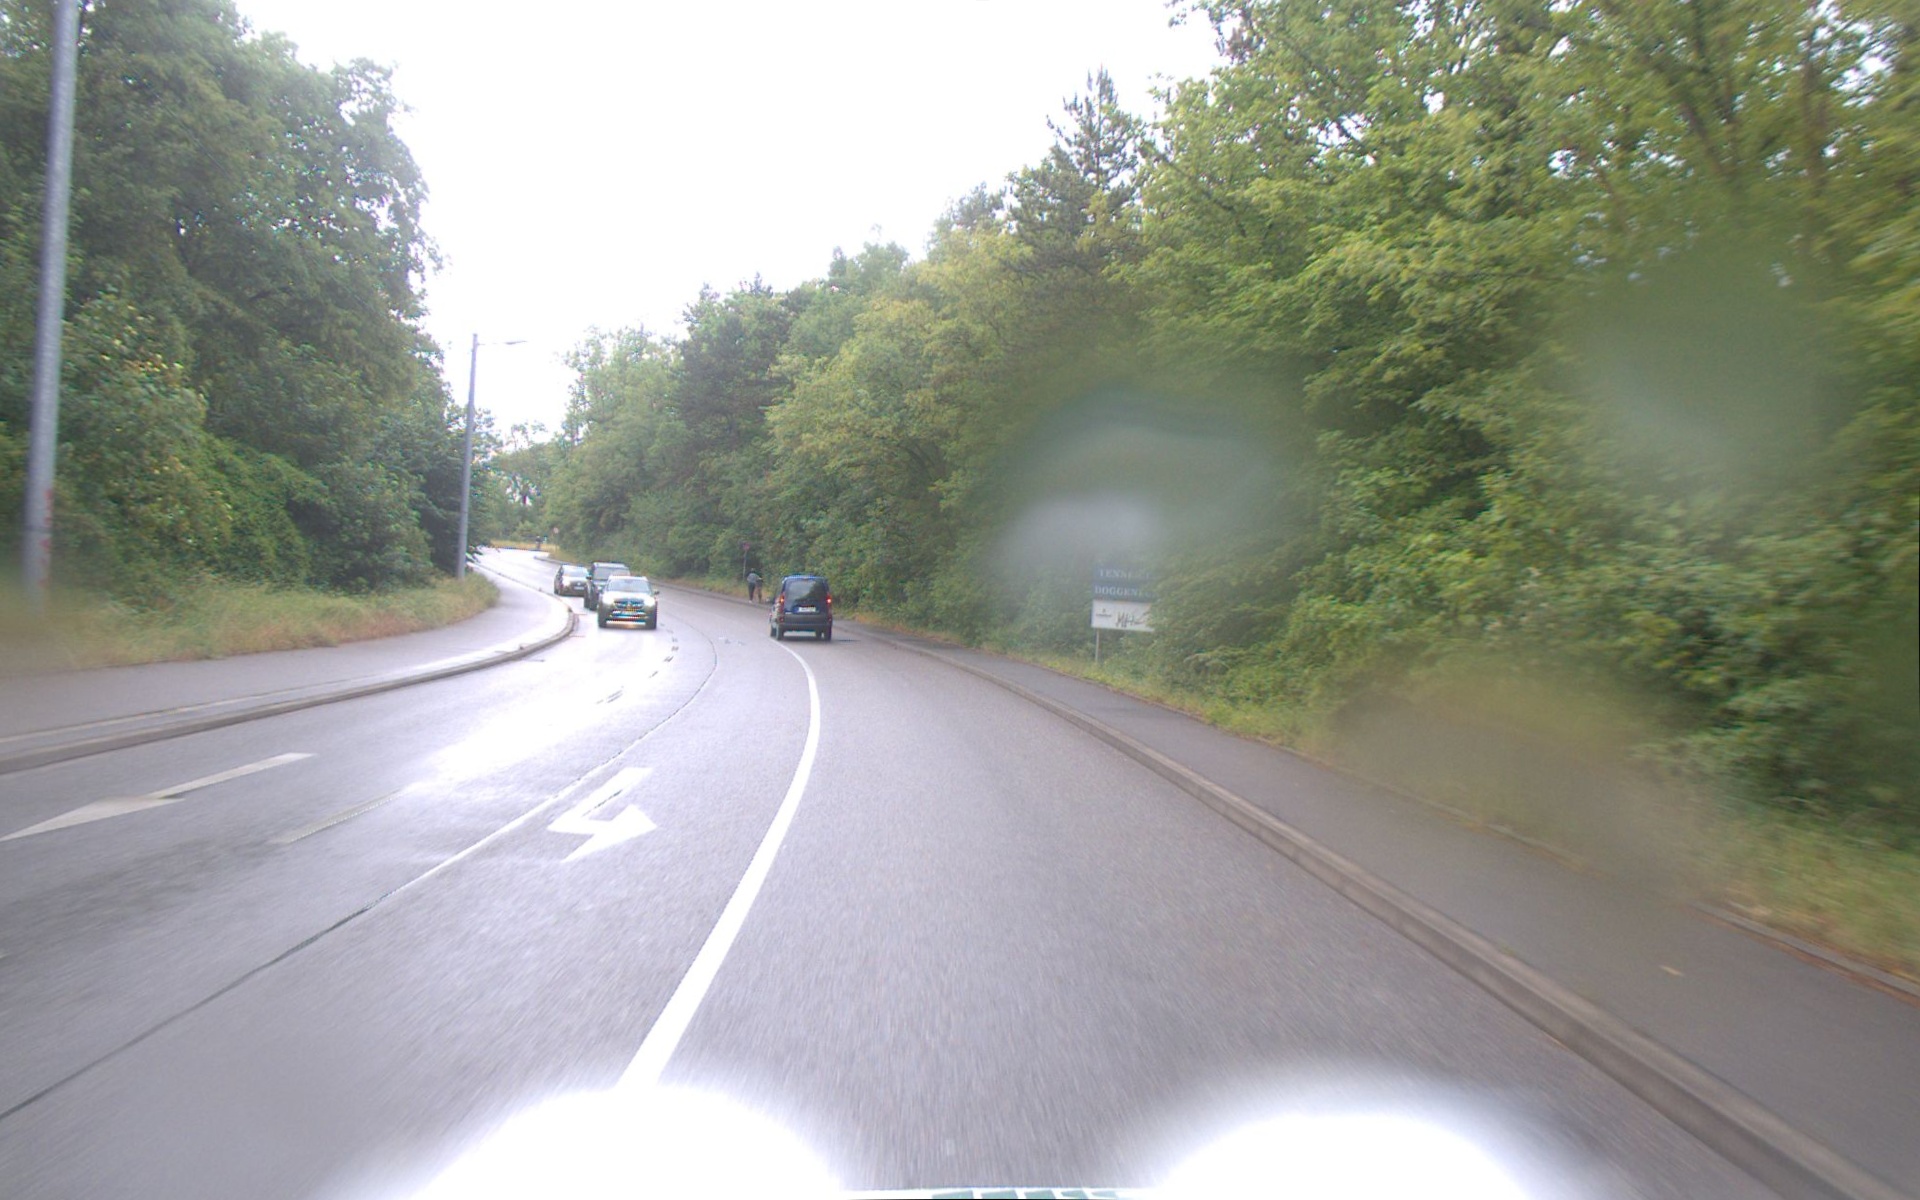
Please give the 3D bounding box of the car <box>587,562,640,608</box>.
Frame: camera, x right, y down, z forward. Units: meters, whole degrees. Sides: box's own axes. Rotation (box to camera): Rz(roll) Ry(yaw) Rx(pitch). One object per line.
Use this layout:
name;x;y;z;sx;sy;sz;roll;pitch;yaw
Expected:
car;-14.622;-0.646;69.623;1.798;1.875;4.689;-1;1;-17

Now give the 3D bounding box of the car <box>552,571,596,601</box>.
car;-19.749;-0.716;84.531;1.799;1.465;3.979;2;0;-18

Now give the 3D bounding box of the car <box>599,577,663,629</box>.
car;-10.947;0.066;55.273;1.775;1.622;4.510;2;0;-8

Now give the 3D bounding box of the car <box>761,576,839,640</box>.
car;-4.831;0.207;49.440;1.796;1.825;3.987;1;1;-13
